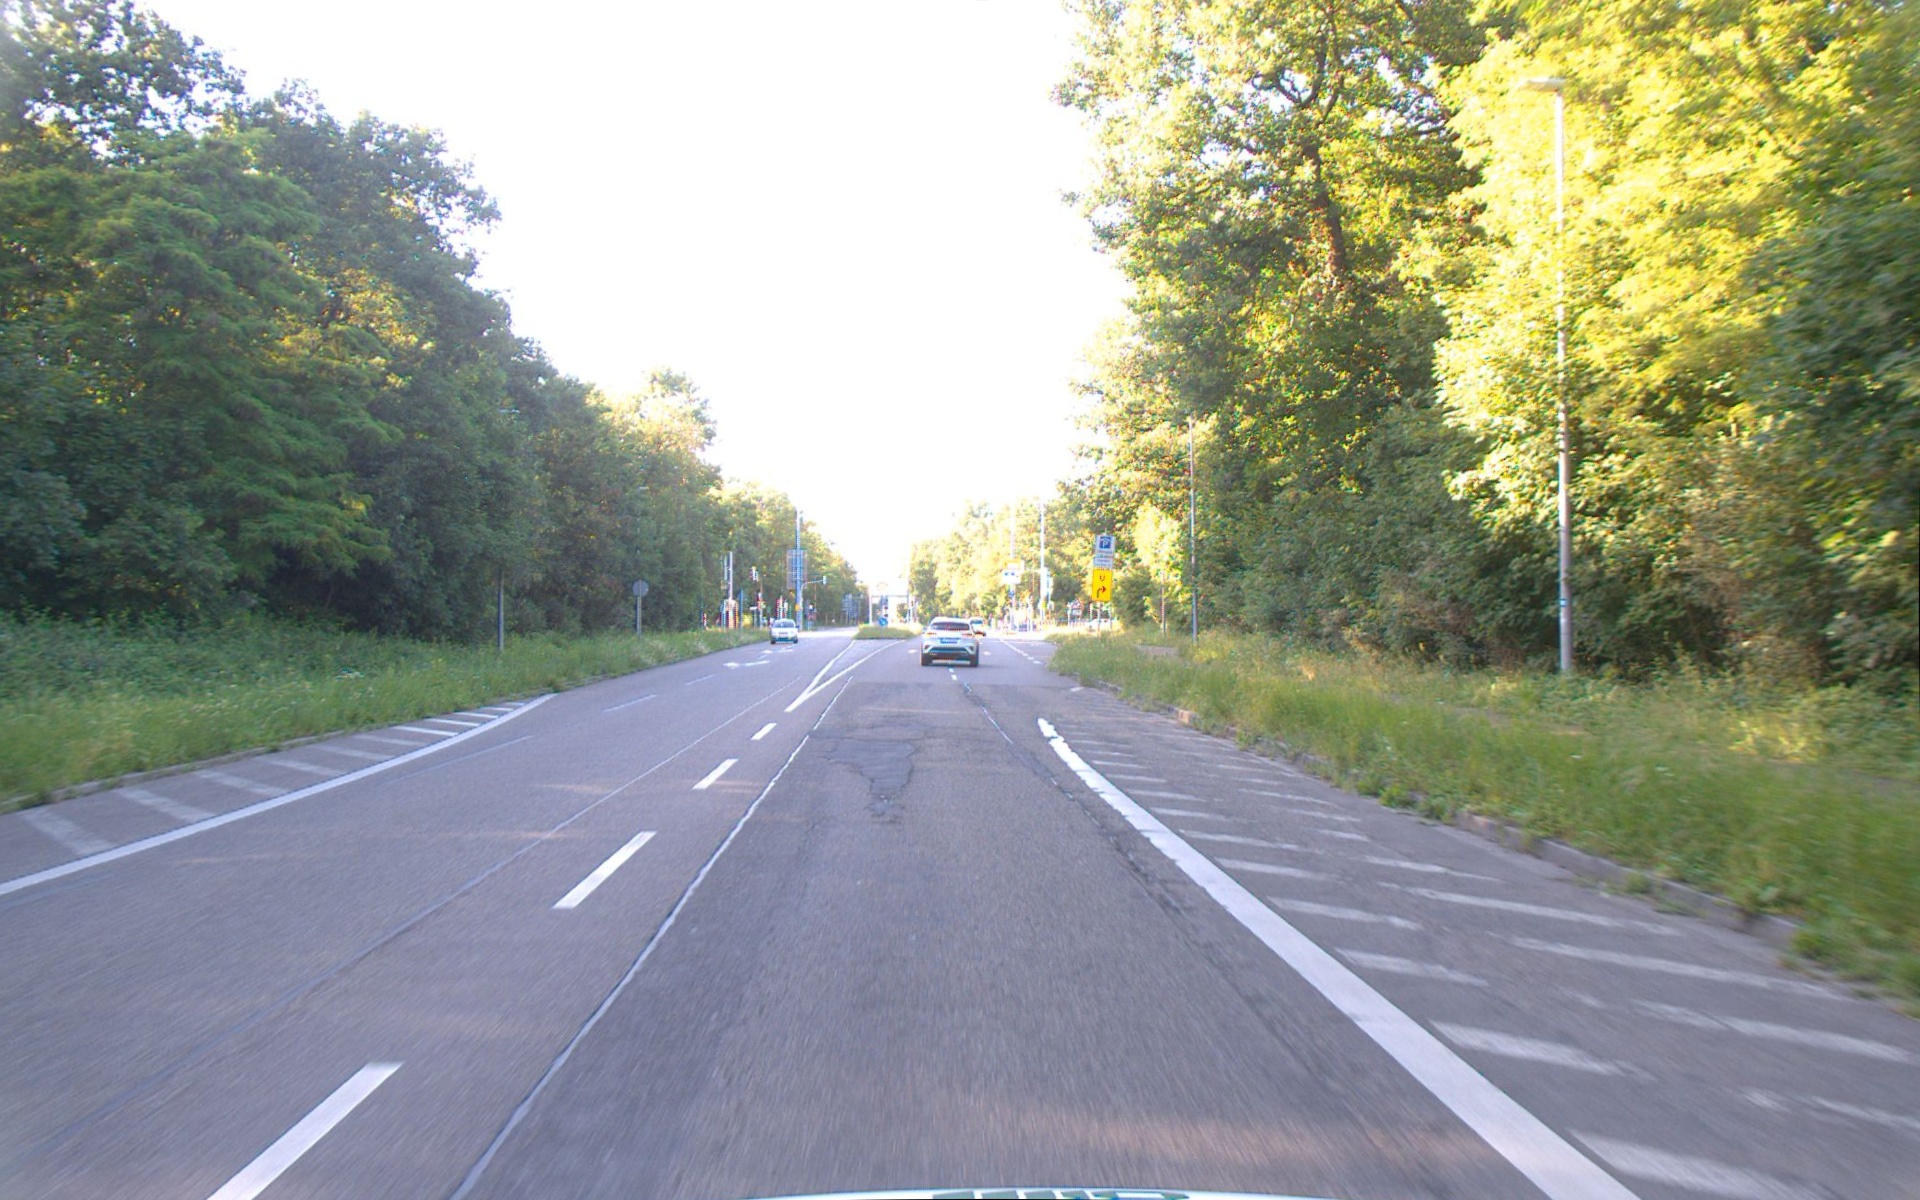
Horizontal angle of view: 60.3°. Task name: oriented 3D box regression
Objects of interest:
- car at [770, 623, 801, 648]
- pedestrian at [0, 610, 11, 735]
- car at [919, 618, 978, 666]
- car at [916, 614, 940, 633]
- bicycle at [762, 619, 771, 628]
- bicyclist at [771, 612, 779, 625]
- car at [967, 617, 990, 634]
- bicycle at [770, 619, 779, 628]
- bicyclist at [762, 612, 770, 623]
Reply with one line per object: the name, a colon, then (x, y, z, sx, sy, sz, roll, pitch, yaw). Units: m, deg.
car: (-11.027, 2.228, 104.733, 1.793, 1.480, 4.475, -3, 0, -5)
pedestrian: (-12.574, 0.933, 20.860, 0.697, 1.592, 0.826, -1, -1, 0)
car: (-0.366, 1.336, 53.498, 1.825, 1.469, 3.999, 1, -1, 0)
car: (-2.936, 2.108, 150.046, 1.954, 1.714, 3.996, 0, -1, -4)
bicycle: (-20.641, 2.461, 176.331, 0.700, 0.930, 1.911, 0, 0, 3)
bicyclist: (-19.759, 1.972, 176.231, 0.695, 1.414, 0.991, 0, -1, 3)
car: (1.598, 2.172, 142.466, 1.900, 1.439, 4.000, 0, 0, 0)
bicycle: (-19.750, 2.463, 176.260, 0.700, 0.930, 1.911, 0, 0, 3)
bicyclist: (-20.646, 1.858, 176.339, 0.700, 1.213, 0.991, 0, -1, 3)
